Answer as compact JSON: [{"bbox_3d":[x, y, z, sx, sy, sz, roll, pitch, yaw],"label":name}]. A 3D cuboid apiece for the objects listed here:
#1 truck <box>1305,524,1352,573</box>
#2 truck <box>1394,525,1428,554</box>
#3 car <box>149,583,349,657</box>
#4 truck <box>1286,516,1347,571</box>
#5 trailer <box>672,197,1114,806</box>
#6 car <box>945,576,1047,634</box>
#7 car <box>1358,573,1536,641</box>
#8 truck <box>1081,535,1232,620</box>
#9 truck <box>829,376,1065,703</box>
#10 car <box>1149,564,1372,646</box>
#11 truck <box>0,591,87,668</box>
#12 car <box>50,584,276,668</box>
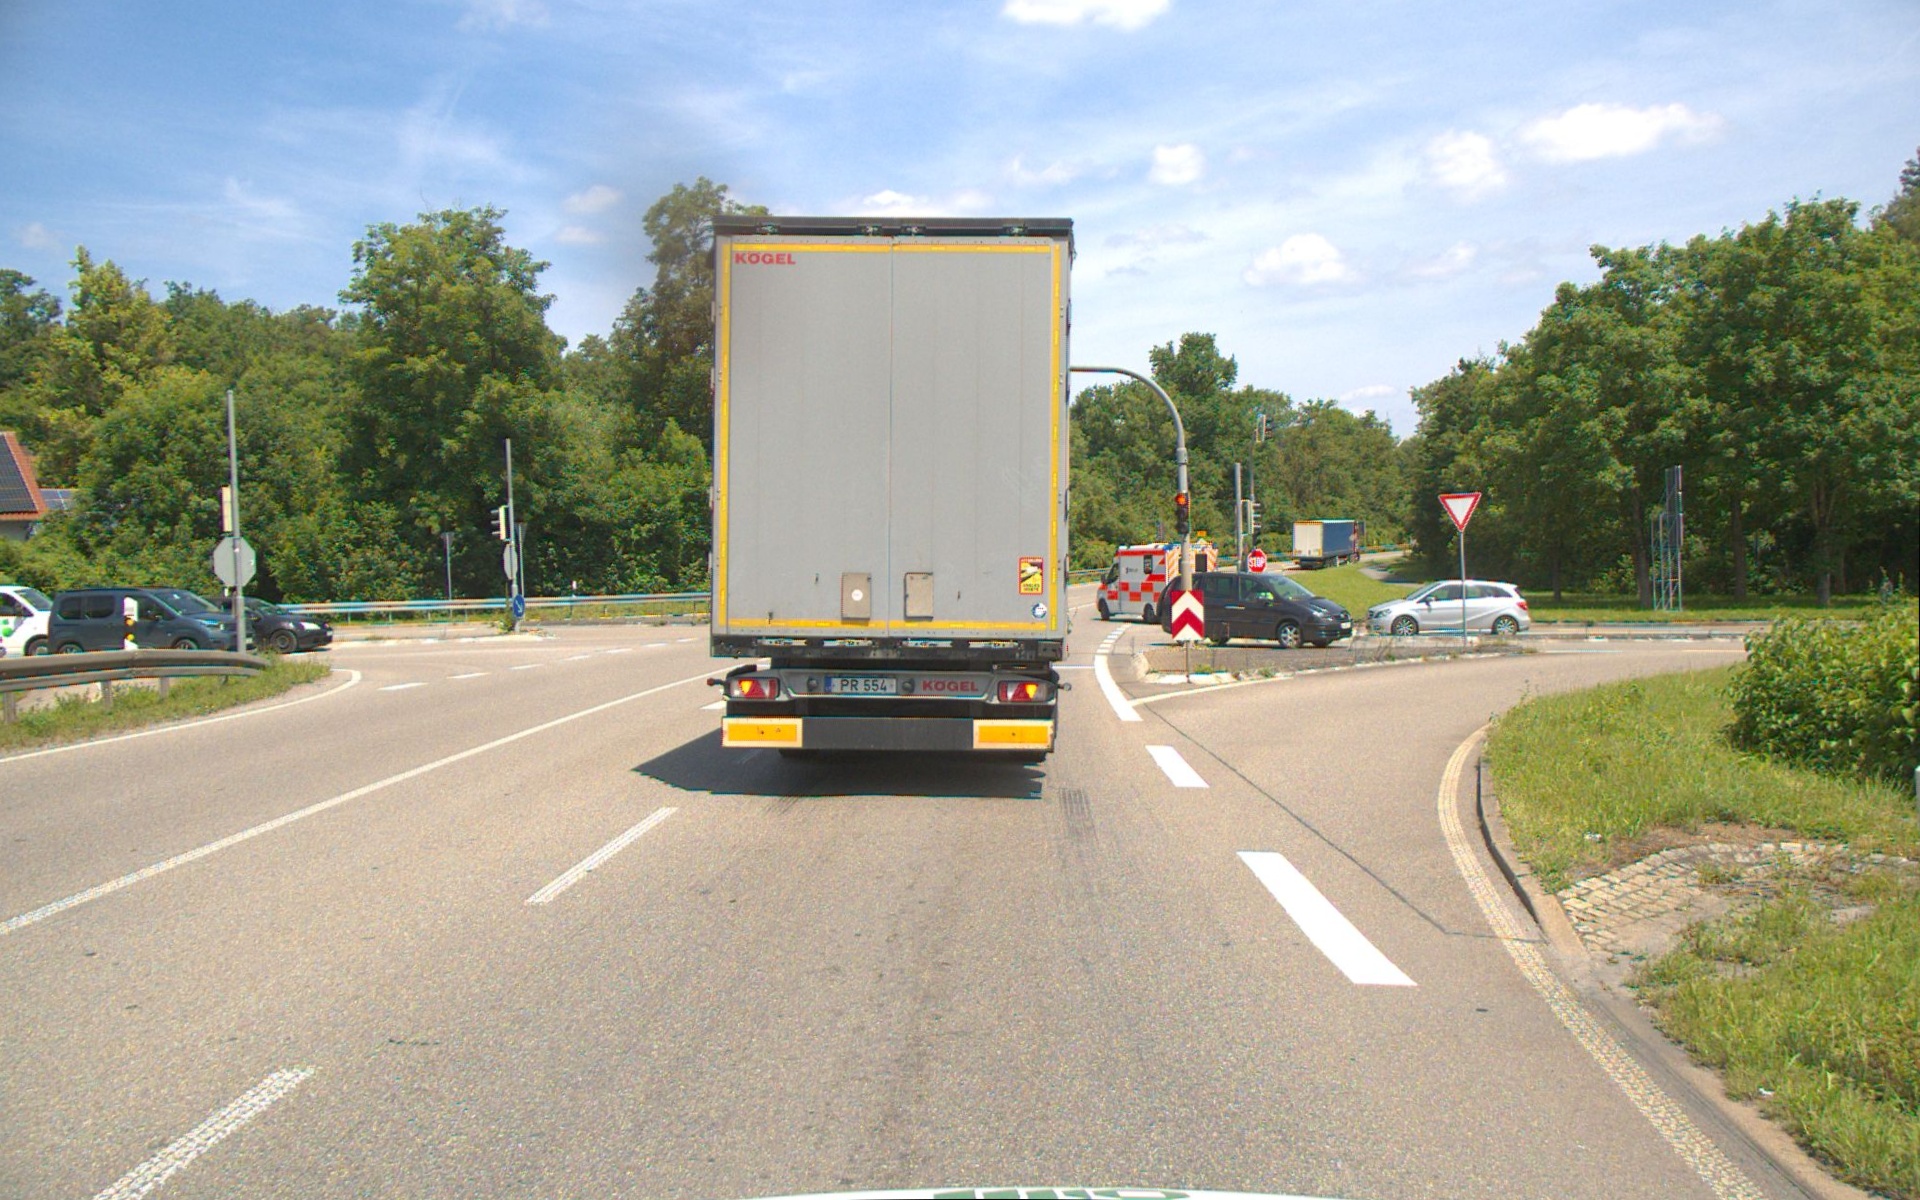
[{"bbox_3d":[33.368,-4.643,149.518,3.105,4.075,5.813,1,-1,23],"label":"truck"},{"bbox_3d":[50.236,-6.666,184.262,2.797,2.999,7.104,0,0,22],"label":"truck"},{"bbox_3d":[-17.637,0.493,41.121,4.143,1.801,2.002,0,0,9],"label":"car"},{"bbox_3d":[31.178,-4.826,144.257,3.115,4.100,11.740,1,-2,23],"label":"truck"},{"bbox_3d":[-0.273,-0.715,17.446,2.988,4.104,12.562,0,0,2],"label":"trailer"},{"bbox_3d":[0.954,0.177,46.278,1.958,1.517,4.245,1,-1,-12],"label":"car"},{"bbox_3d":[13.183,0.200,44.961,4.334,1.748,2.001,1,-2,5],"label":"car"},{"bbox_3d":[6.831,-0.704,58.289,2.463,2.775,5.979,2,-2,-26],"label":"truck"},{"bbox_3d":[-0.072,-0.785,24.126,2.975,4.104,6.631,0,0,2],"label":"truck"},{"bbox_3d":[7.044,0.144,39.098,4.849,1.816,1.990,0,-2,39],"label":"car"},{"bbox_3d":[-24.090,0.694,40.044,4.791,1.823,2.037,1,-2,-13],"label":"truck"},{"bbox_3d":[-17.781,0.575,36.988,4.143,1.801,2.002,0,0,9],"label":"car"}]
